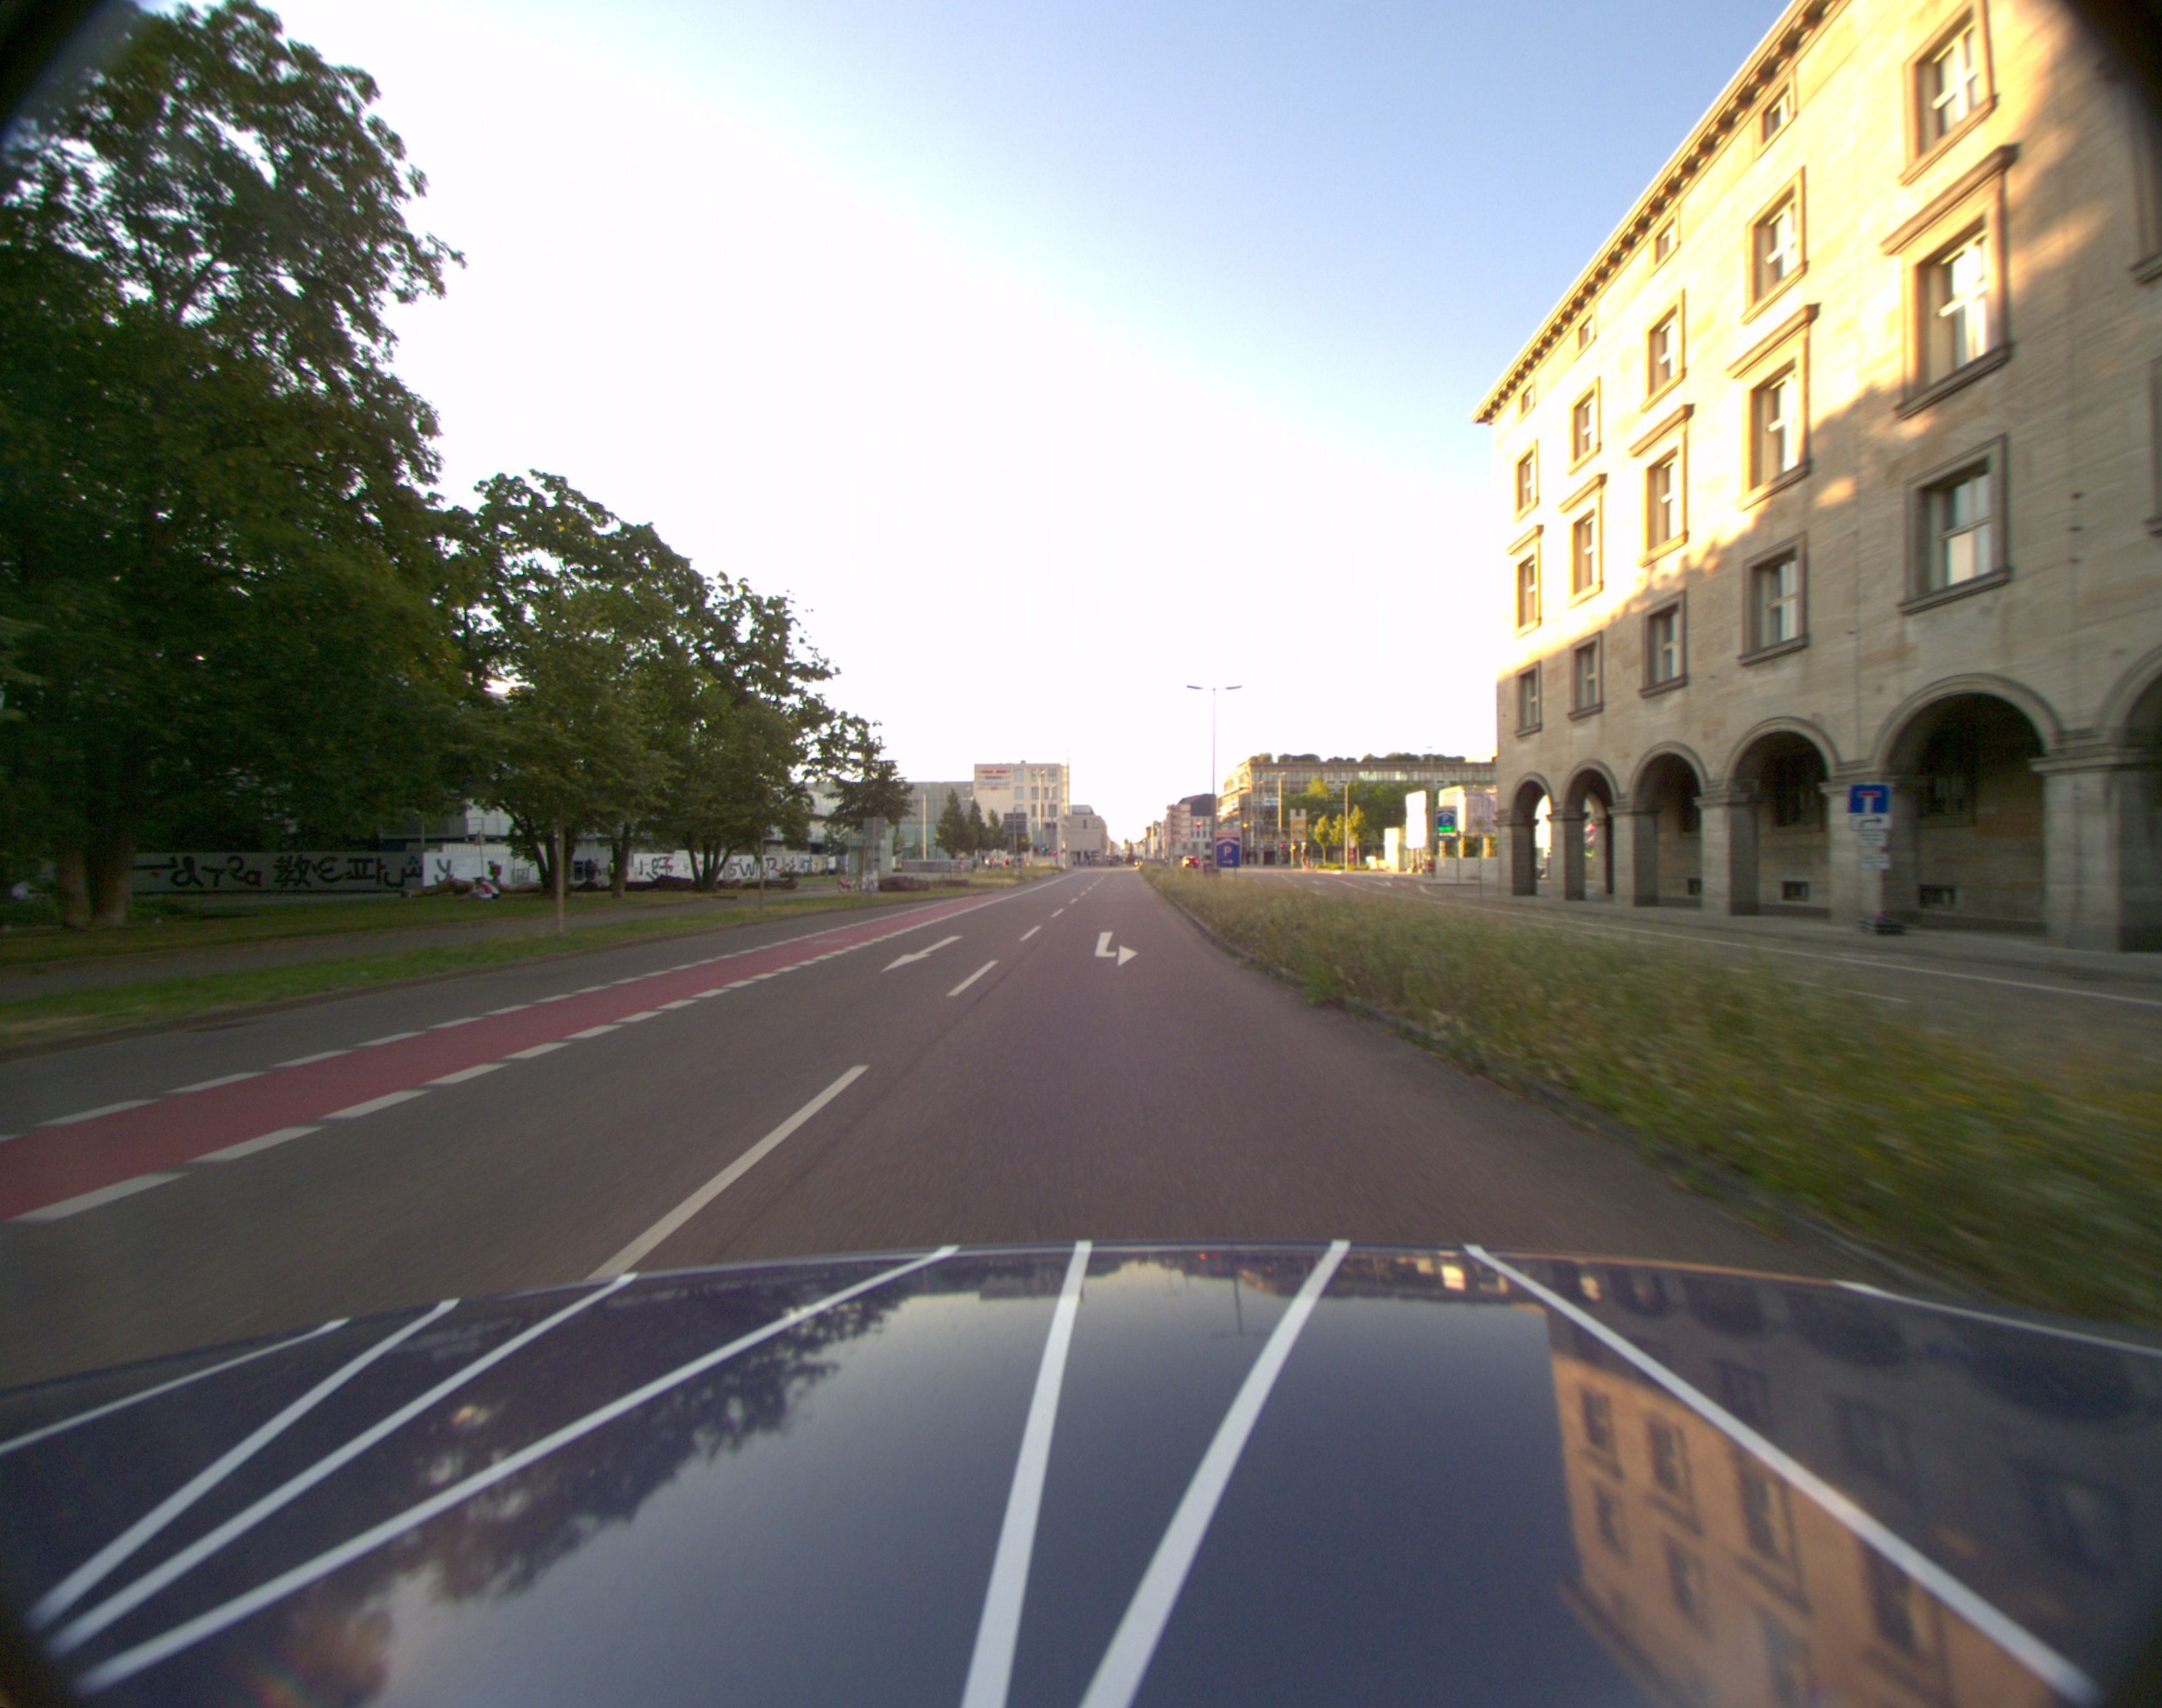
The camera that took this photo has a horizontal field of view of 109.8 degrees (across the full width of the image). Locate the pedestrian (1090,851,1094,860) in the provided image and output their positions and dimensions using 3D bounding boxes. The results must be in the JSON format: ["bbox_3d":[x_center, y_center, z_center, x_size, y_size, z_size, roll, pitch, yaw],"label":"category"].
[{"bbox_3d":[2.200,0.264,150.801,0.764,1.694,0.835,0,-6,1],"label":"pedestrian"}]

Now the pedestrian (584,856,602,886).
[{"bbox_3d":[-31.144,1.071,48.511,0.768,1.890,0.601,0,1,18],"label":"pedestrian"}]

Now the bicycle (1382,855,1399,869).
[{"bbox_3d":[29.677,0.789,72.874,0.618,1.316,2.509,0,0,1],"label":"bicycle"}]

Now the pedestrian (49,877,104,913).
[{"bbox_3d":[-33.886,1.382,25.641,0.788,1.157,0.766,0,1,-2],"label":"pedestrian"}]

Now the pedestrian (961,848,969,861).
[{"bbox_3d":[-12.770,0.068,83.594,0.762,1.481,0.645,0,-1,2],"label":"pedestrian"}]

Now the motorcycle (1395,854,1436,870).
[{"bbox_3d":[30.251,0.745,68.767,3.240,1.375,0.840,-2,0,1],"label":"motorcycle"}]

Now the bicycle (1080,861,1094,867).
[{"bbox_3d":[1.222,2.072,161.126,2.804,1.208,0.765,-1,-1,13],"label":"bicycle"}]

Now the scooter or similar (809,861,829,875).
[{"bbox_3d":[-23.862,1.253,69.156,1.573,1.213,0.474,-2,1,1],"label":"scooter or similar"}]

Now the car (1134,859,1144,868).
[{"bbox_3d":[12.127,1.998,159.521,2.071,1.642,4.000,0,2,4],"label":"car"}]

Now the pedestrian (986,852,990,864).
[{"bbox_3d":[-14.421,0.565,117.756,0.604,1.843,0.587,0,0,8],"label":"pedestrian"}]

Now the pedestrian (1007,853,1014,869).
[{"bbox_3d":[-8.283,0.829,89.365,0.644,1.922,0.619,0,1,3],"label":"pedestrian"}]

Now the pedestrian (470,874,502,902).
[{"bbox_3d":[-19.792,1.122,25.277,0.682,0.879,0.622,0,0,-21],"label":"pedestrian"}]

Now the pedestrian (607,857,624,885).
[{"bbox_3d":[-30.025,1.103,49.014,0.768,1.810,0.601,0,1,18],"label":"pedestrian"}]

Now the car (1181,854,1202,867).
[{"bbox_3d":[12.811,0.780,88.319,1.891,1.457,4.538,-1,0,2],"label":"car"}]

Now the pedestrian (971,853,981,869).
[{"bbox_3d":[-12.292,0.849,89.011,0.816,1.804,1.047,-1,-1,9],"label":"pedestrian"}]

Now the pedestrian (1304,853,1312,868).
[{"bbox_3d":[28.186,0.821,94.419,0.874,1.826,0.776,0,0,4],"label":"pedestrian"}]

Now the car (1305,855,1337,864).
[{"bbox_3d":[43.430,1.025,137.475,5.159,1.575,2.001,-1,0,3],"label":"car"}]

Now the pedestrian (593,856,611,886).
[{"bbox_3d":[-30.287,1.075,48.063,0.768,1.845,0.601,0,1,18],"label":"pedestrian"}]

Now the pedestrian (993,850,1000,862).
[{"bbox_3d":[-13.300,0.372,119.387,0.896,1.843,0.724,1,2,-30],"label":"pedestrian"}]

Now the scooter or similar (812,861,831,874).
[{"bbox_3d":[-23.887,1.240,69.974,1.573,1.213,0.474,-2,1,1],"label":"scooter or similar"}]

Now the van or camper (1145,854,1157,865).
[{"bbox_3d":[17.446,1.382,189.990,2.232,2.650,6.163,0,-1,-1],"label":"van or camper"}]

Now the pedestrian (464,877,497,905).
[{"bbox_3d":[-19.530,1.191,24.730,0.682,0.879,0.592,0,0,-21],"label":"pedestrian"}]

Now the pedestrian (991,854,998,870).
[{"bbox_3d":[-10.094,0.953,88.739,0.644,1.922,0.619,0,0,5],"label":"pedestrian"}]

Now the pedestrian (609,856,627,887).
[{"bbox_3d":[-29.013,1.088,47.639,0.768,1.908,0.601,0,1,18],"label":"pedestrian"}]

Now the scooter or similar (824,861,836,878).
[{"bbox_3d":[-18.752,1.151,56.806,0.474,1.213,1.574,2,0,-3],"label":"scooter or similar"}]

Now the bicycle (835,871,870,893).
[{"bbox_3d":[-11.083,1.327,36.863,0.494,1.000,1.901,3,1,23],"label":"bicycle"}]

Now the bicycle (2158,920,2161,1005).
[{"bbox_3d":[13.042,1.272,7.989,0.543,0.999,2.004,0,0,-3],"label":"bicycle"}]

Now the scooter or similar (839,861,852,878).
[{"bbox_3d":[-17.579,1.132,56.821,0.424,1.213,1.399,2,0,4],"label":"scooter or similar"}]

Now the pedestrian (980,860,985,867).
[{"bbox_3d":[-15.072,1.466,116.531,0.649,0.957,0.654,0,0,-2],"label":"pedestrian"}]

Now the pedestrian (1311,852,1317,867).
[{"bbox_3d":[29.083,0.718,94.836,0.660,1.921,0.648,-1,0,8],"label":"pedestrian"}]

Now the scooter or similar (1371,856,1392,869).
[{"bbox_3d":[29.615,0.823,74.882,1.840,1.297,0.423,0,1,-3],"label":"scooter or similar"}]

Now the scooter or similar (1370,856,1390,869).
[{"bbox_3d":[29.602,0.829,75.325,1.835,1.297,0.423,0,1,-3],"label":"scooter or similar"}]

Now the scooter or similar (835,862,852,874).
[{"bbox_3d":[-24.234,1.425,77.556,1.573,1.213,0.474,-1,1,1],"label":"scooter or similar"}]

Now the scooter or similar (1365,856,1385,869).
[{"bbox_3d":[29.553,0.828,76.318,1.863,1.297,0.500,0,1,-3],"label":"scooter or similar"}]
